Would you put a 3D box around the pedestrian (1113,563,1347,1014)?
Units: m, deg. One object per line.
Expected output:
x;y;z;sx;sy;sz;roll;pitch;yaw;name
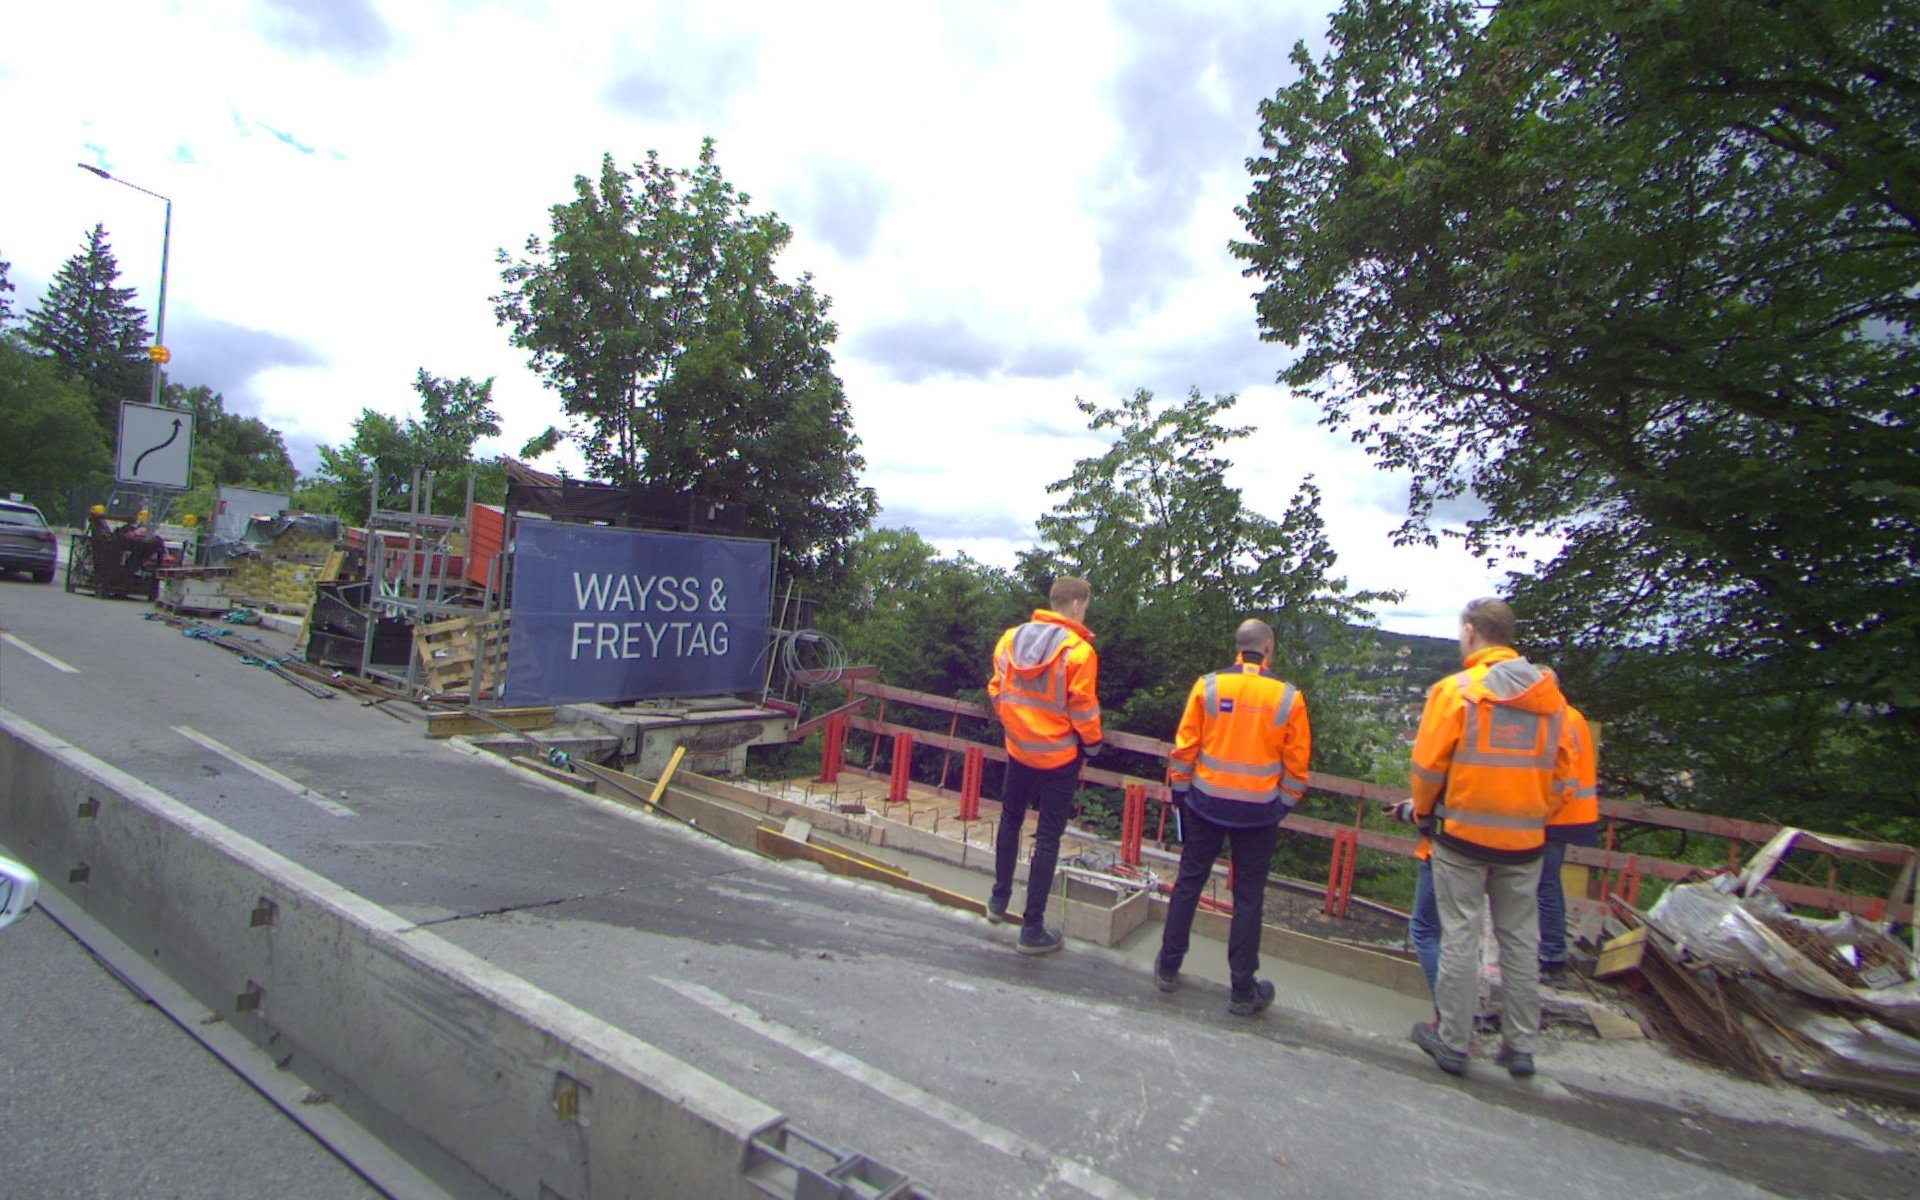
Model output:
1.255;0.808;4.663;0.782;1.867;0.526;7;3;26;pedestrian

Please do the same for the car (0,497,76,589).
-18.224;-1.216;18.645;4.558;1.472;1.840;6;-1;38;car

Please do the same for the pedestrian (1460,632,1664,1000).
3.283;1.130;5.545;0.631;1.814;0.648;7;-2;11;pedestrian

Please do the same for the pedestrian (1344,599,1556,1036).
2.393;1.019;5.007;0.607;1.912;0.732;9;-1;19;pedestrian

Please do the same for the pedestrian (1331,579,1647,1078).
2.198;0.910;4.274;0.706;1.909;0.618;8;2;-3;pedestrian

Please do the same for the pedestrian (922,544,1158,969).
0.406;0.713;5.012;0.820;1.884;0.639;7;3;26;pedestrian
